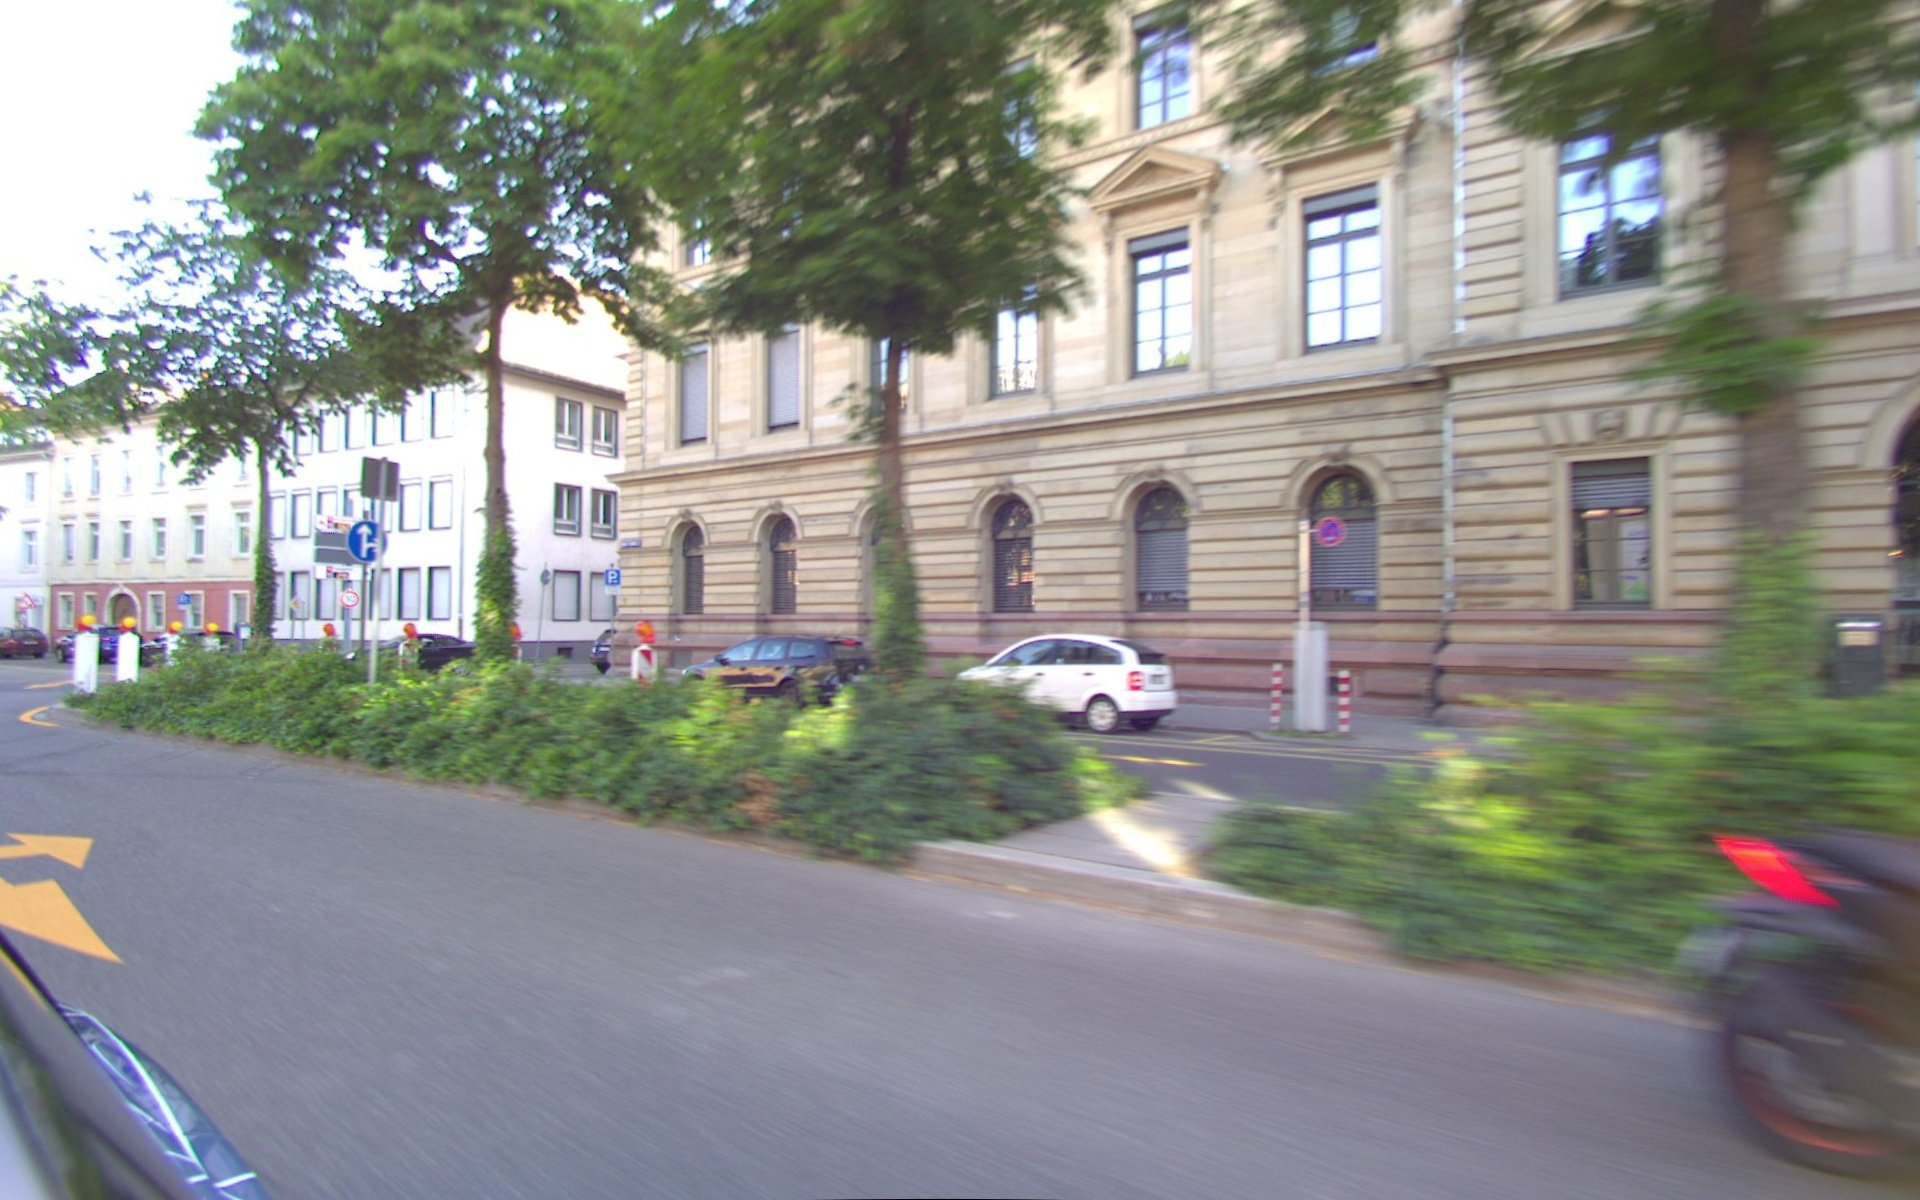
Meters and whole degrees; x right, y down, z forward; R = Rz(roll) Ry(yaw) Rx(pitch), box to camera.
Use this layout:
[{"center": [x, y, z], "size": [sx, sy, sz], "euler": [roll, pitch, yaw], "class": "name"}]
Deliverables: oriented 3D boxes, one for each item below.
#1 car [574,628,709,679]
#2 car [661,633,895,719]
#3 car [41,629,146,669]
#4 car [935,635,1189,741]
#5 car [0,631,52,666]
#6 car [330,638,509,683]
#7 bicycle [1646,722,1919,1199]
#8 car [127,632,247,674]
[{"center": [-11.226, 1.926, 36.020], "size": [1.873, 1.683, 4.613], "euler": [-1, -4, 26], "class": "car"}, {"center": [-3.666, 1.451, 20.040], "size": [4.634, 1.519, 1.862], "euler": [-1, -4, 36], "class": "car"}, {"center": [-36.222, 2.034, 42.305], "size": [4.132, 1.583, 1.791], "euler": [-1, -2, 26], "class": "car"}, {"center": [1.614, 1.350, 16.522], "size": [3.838, 1.519, 1.653], "euler": [-1, -3, 35], "class": "car"}, {"center": [-43.869, 2.188, 46.356], "size": [4.166, 1.499, 1.759], "euler": [-1, -1, 22], "class": "car"}, {"center": [-17.086, 1.888, 32.235], "size": [1.764, 1.333, 4.713], "euler": [-1, -3, 38], "class": "car"}, {"center": [2.887, 0.882, 2.051], "size": [2.448, 1.050, 0.862], "euler": [-1, -1, 36], "class": "bicycle"}, {"center": [-30.017, 2.009, 39.293], "size": [4.763, 1.519, 1.864], "euler": [-1, -1, 27], "class": "car"}]
